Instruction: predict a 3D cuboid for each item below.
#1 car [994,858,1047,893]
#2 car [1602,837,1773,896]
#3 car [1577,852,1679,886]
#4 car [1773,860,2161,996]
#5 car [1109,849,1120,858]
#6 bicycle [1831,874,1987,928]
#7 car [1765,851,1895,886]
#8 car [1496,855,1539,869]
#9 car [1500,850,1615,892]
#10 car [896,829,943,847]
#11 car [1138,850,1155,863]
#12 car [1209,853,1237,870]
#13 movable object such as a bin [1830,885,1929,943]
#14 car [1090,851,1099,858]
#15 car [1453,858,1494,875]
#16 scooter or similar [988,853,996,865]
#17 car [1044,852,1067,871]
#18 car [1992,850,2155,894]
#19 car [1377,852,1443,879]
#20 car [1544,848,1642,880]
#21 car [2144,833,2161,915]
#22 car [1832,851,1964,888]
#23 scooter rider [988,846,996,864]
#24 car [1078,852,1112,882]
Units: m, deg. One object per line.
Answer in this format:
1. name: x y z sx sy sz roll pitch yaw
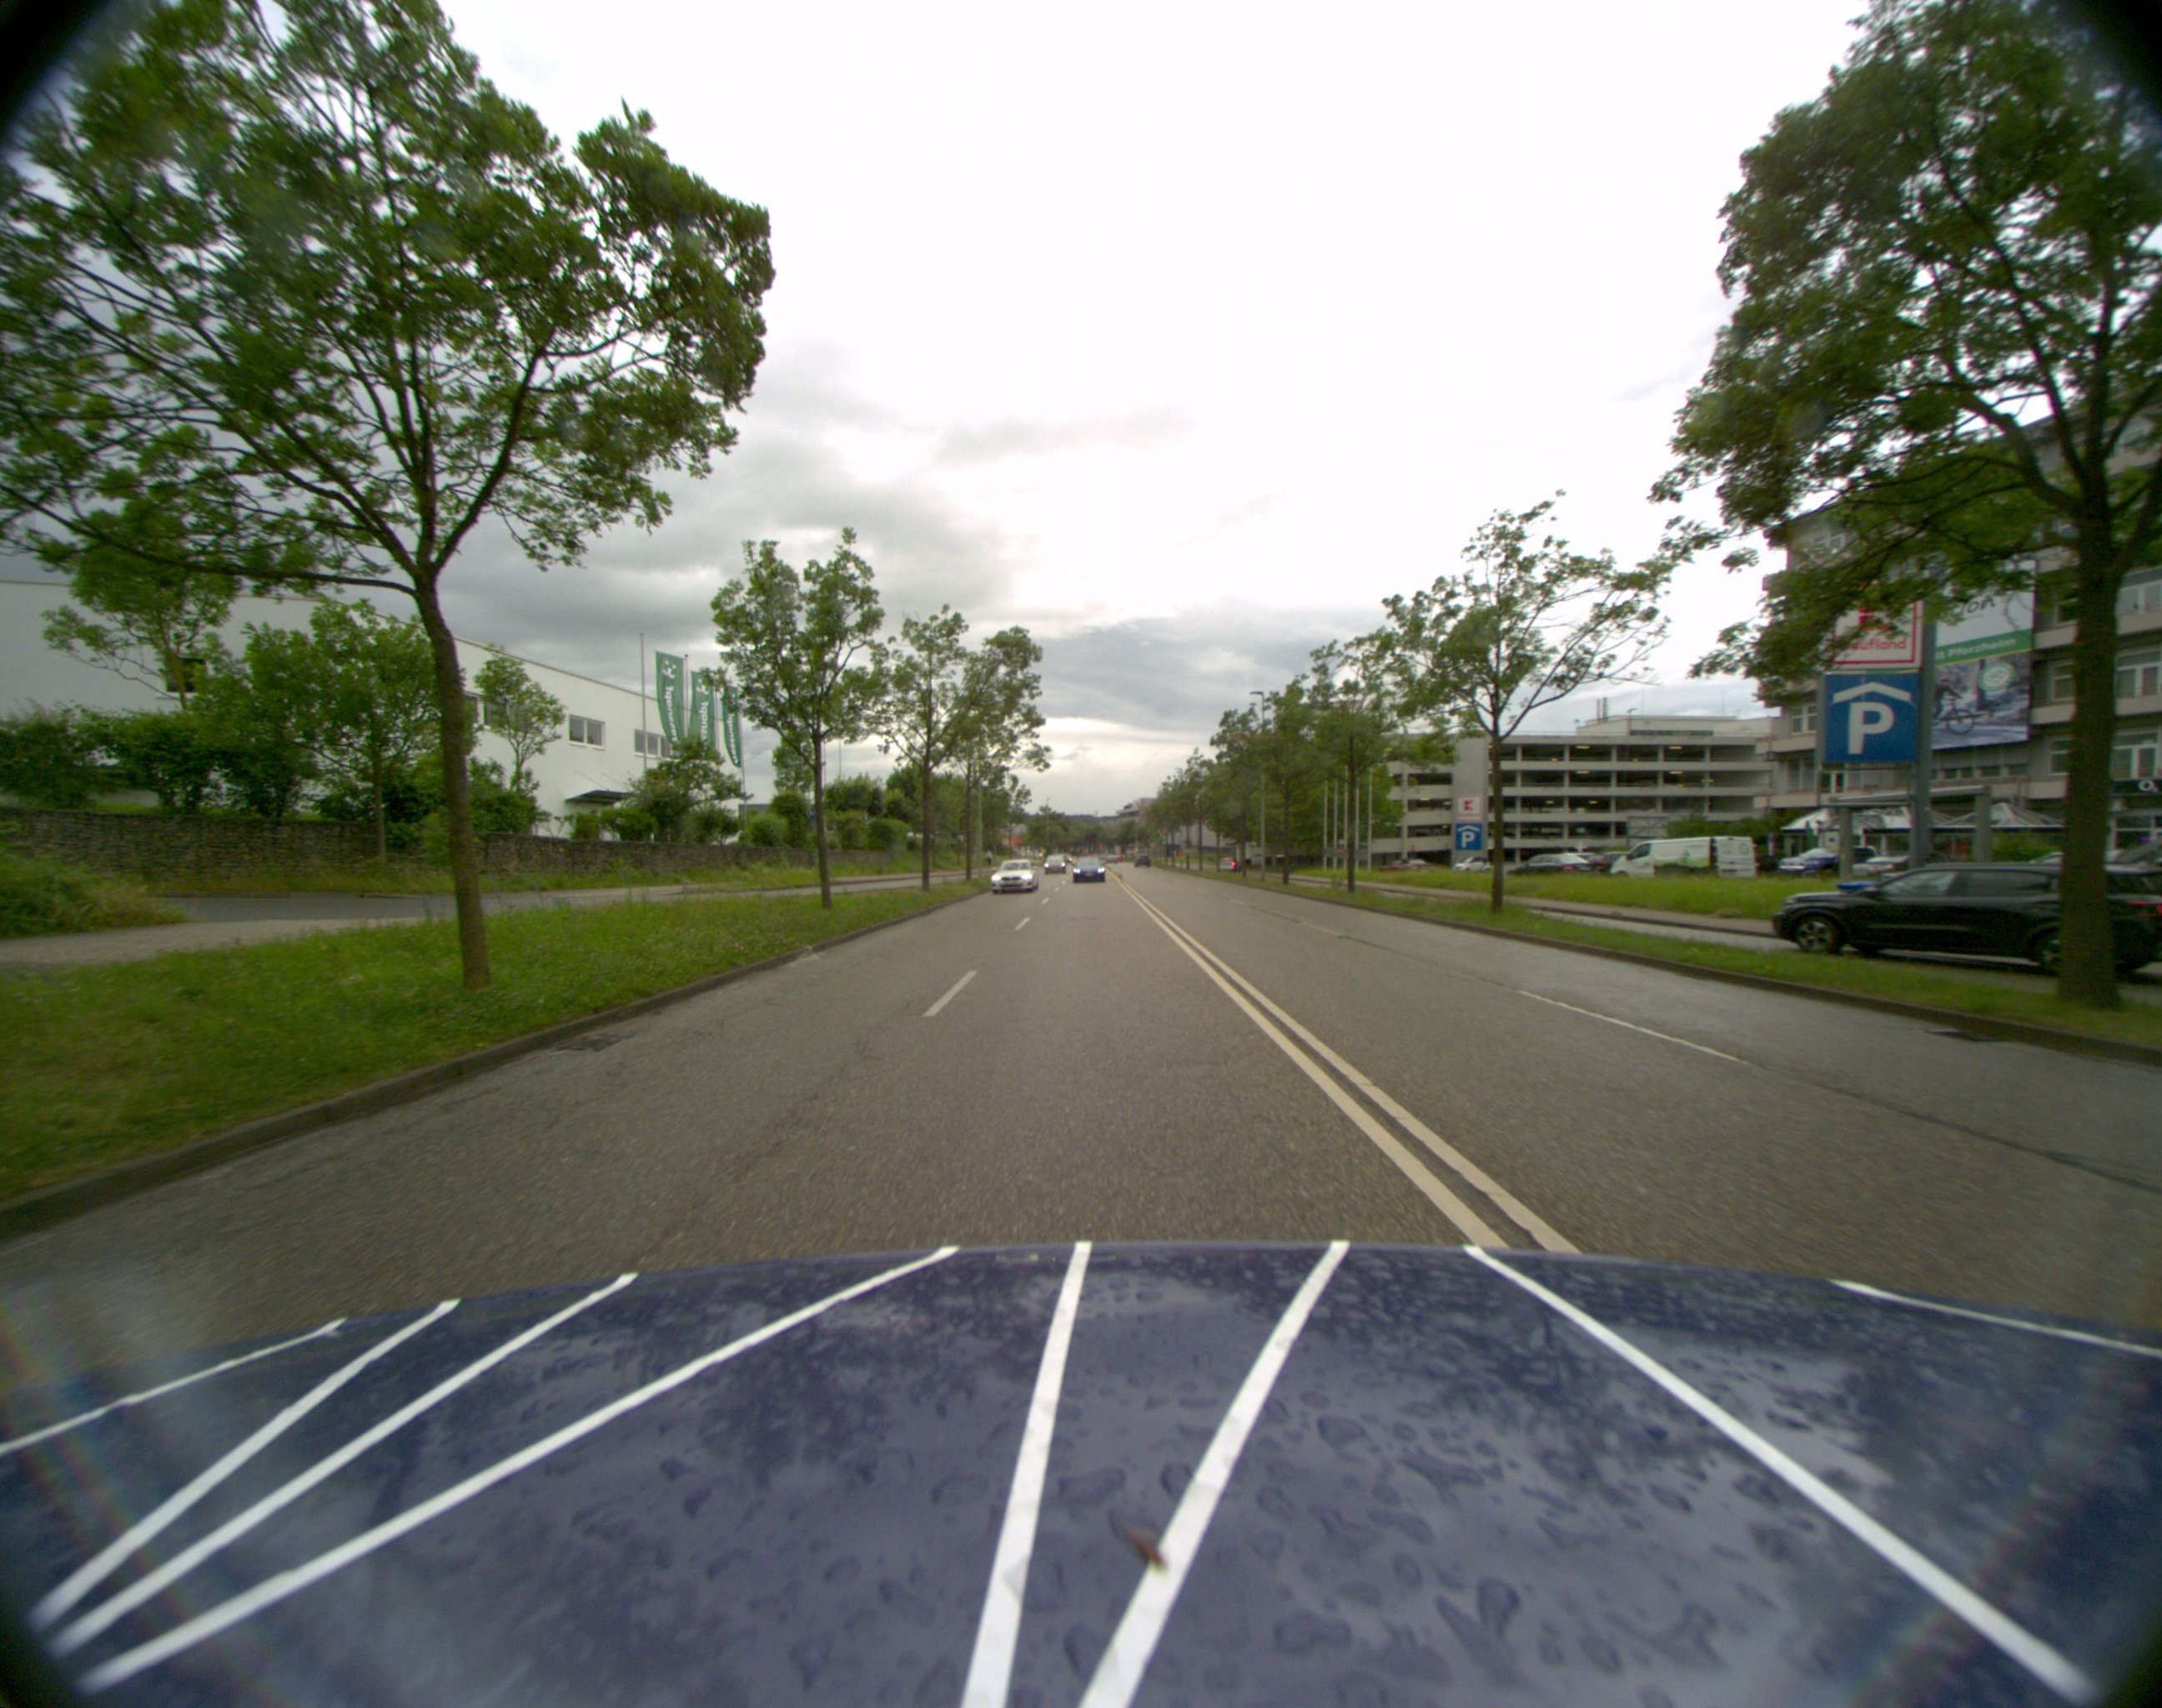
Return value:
1. car: -2.735 0.935 35.286 1.808 1.432 4.542 -1 1 3
2. car: 23.460 0.492 29.719 2.121 2.083 5.119 -1 -1 -8
3. car: 30.405 0.813 42.306 4.513 1.735 1.899 -1 -1 -8
4. car: 13.825 0.965 11.718 1.802 1.672 4.274 0 0 -25
5. car: 5.385 -0.053 123.617 1.671 1.402 4.377 1 1 1
6. bicycle: 17.959 1.004 16.535 2.081 0.930 1.094 -5 1 5
7. car: 36.121 0.694 36.707 4.624 1.501 2.024 -1 -1 -8
8. car: 49.972 0.900 87.033 1.756 1.454 3.834 -3 2 -44
9. car: 22.024 0.793 35.402 2.045 1.751 4.945 -2 -1 -3
10. car: -20.974 -2.092 98.917 5.625 2.130 2.120 3 1 -7
11. car: 8.166 0.308 95.502 1.792 1.605 4.436 2 1 1
12. car: 13.691 0.677 73.434 1.871 1.544 4.575 2 0 0
13. movable object such as a bin: 16.000 1.187 15.261 0.821 1.073 1.086 0 1 1
14. car: 2.966 0.141 166.060 1.832 1.457 4.615 -1 1 0
15. car: 33.555 1.051 65.023 2.705 1.357 1.609 1 -1 -9
16. scooter or similar: -9.484 0.517 80.960 0.696 1.256 1.400 2 1 0
17. car: -2.216 0.649 66.970 1.799 1.572 4.217 -2 1 -1
18. car: 37.669 0.685 28.878 4.289 1.501 1.846 -1 -1 -8
19. car: 21.289 0.753 49.441 1.938 1.599 4.710 -2 -1 -4
20. car: 30.152 0.608 44.795 4.613 1.735 1.966 -1 -1 -8
21. car: 24.415 0.365 14.351 2.143 1.762 4.608 -2 -1 -2
22. car: 36.729 0.706 34.208 4.190 1.501 1.945 -1 -1 -8
23. scooter rider: -9.465 0.091 80.939 0.696 1.810 0.858 2 2 0
24. car: 0.768 0.706 44.579 1.799 1.572 4.217 -2 1 -1
